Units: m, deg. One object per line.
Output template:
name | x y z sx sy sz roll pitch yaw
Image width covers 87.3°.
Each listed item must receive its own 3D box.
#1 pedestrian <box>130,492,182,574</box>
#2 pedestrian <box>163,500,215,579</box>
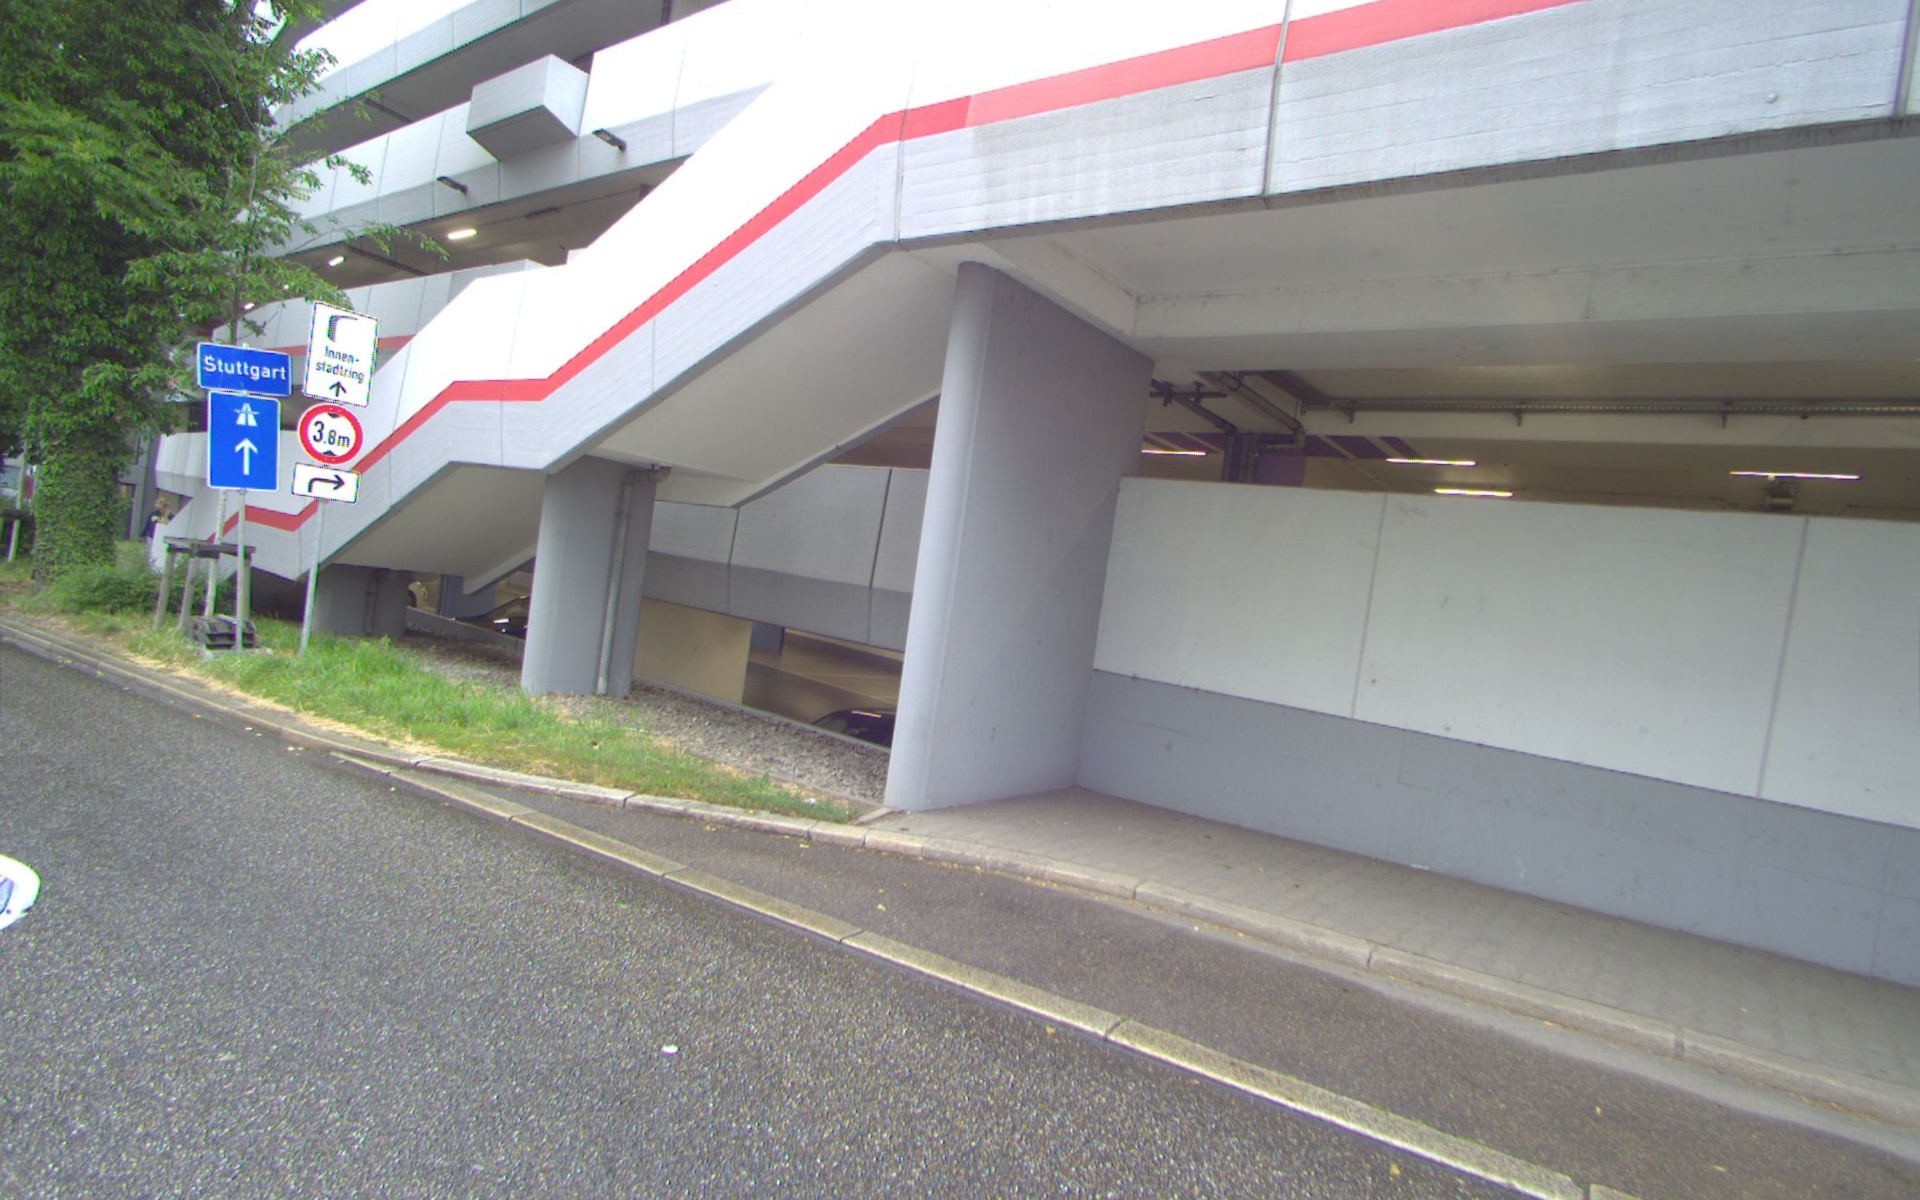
pedestrian | -16.124 -1.339 20.177 0.481 1.550 0.551 6 -1 38
pedestrian | -15.851 -1.240 20.682 0.496 1.519 0.582 6 -1 37
